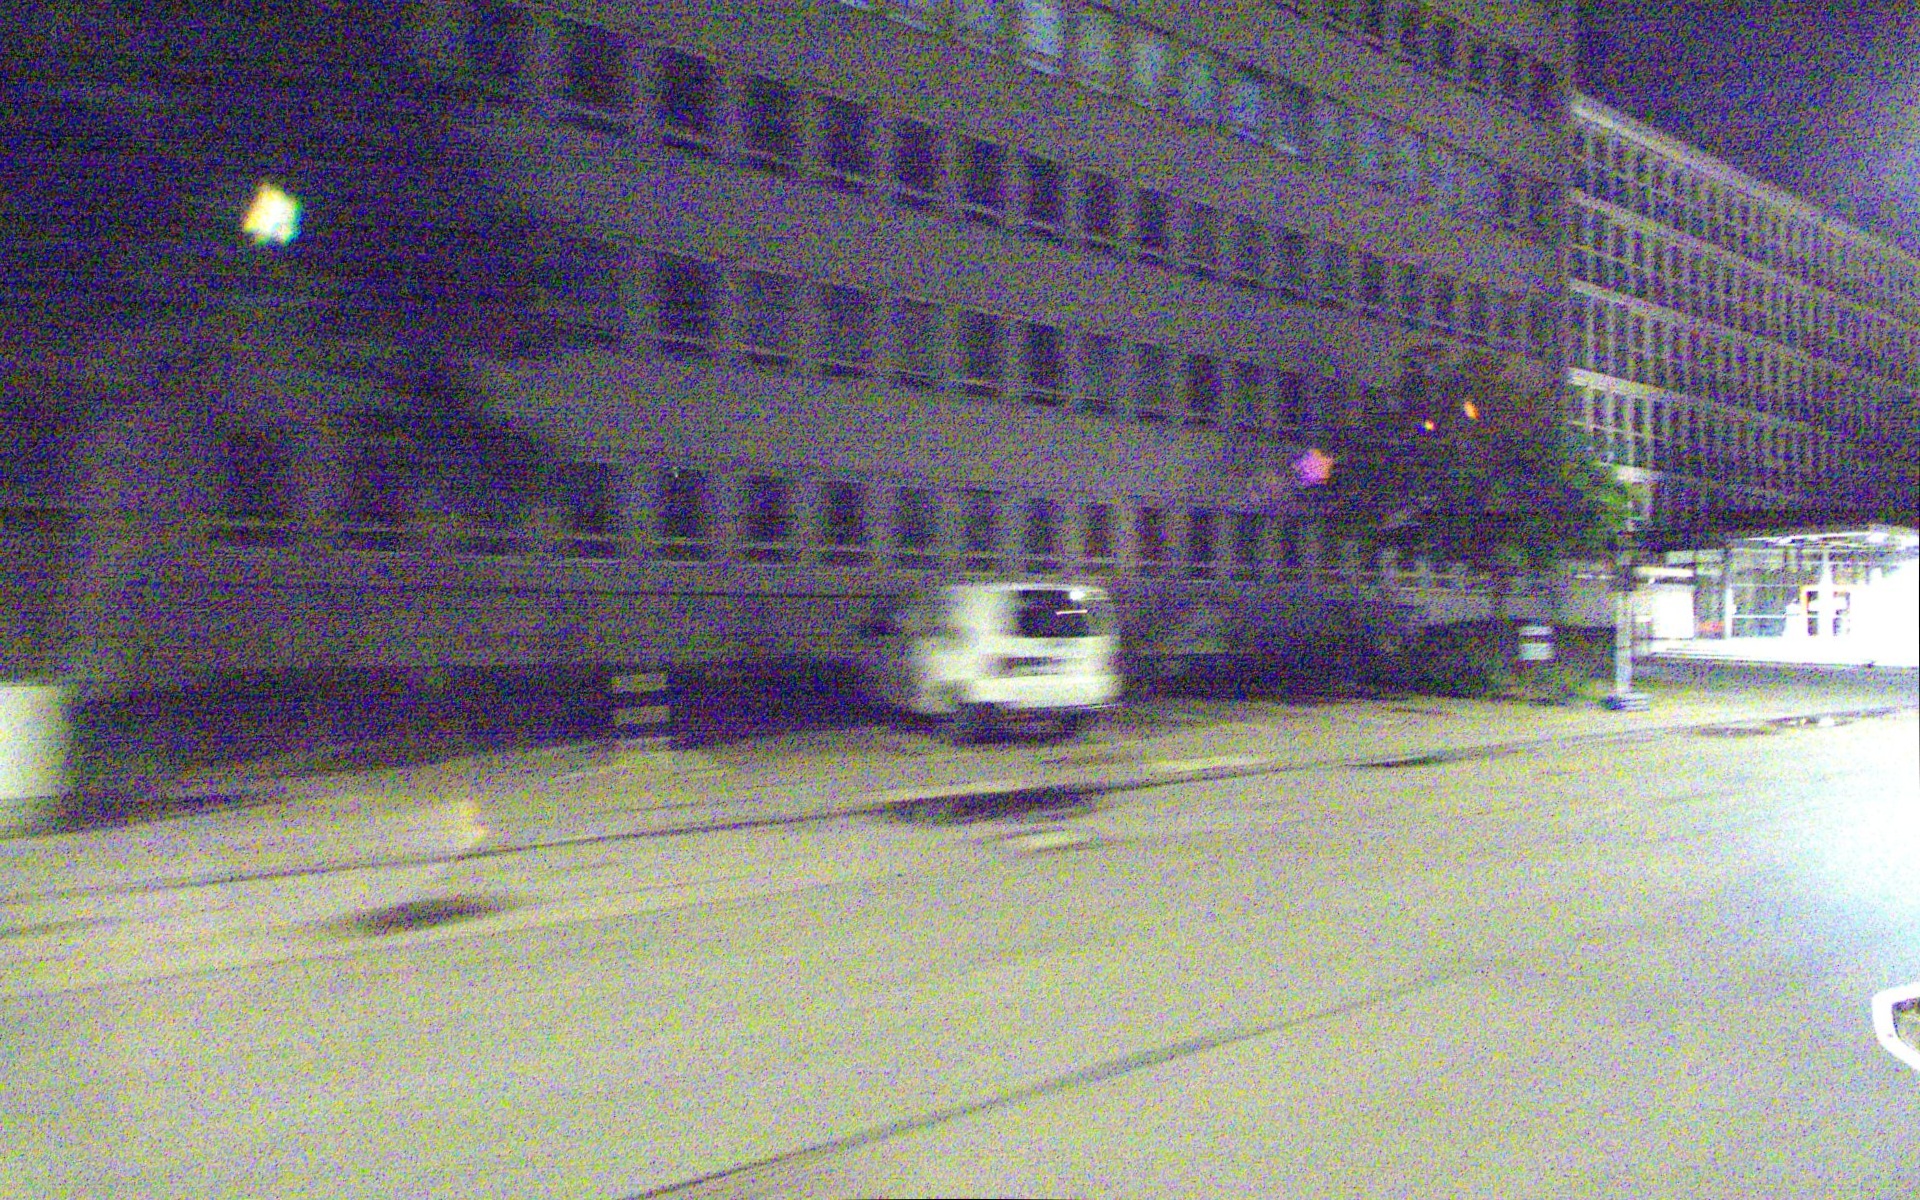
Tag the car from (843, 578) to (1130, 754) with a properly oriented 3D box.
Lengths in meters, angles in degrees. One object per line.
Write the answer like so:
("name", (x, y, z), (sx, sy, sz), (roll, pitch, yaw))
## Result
("car", (0.165, 0.747, 13.860), (1.976, 1.998, 4.411), (0, 0, -29))
